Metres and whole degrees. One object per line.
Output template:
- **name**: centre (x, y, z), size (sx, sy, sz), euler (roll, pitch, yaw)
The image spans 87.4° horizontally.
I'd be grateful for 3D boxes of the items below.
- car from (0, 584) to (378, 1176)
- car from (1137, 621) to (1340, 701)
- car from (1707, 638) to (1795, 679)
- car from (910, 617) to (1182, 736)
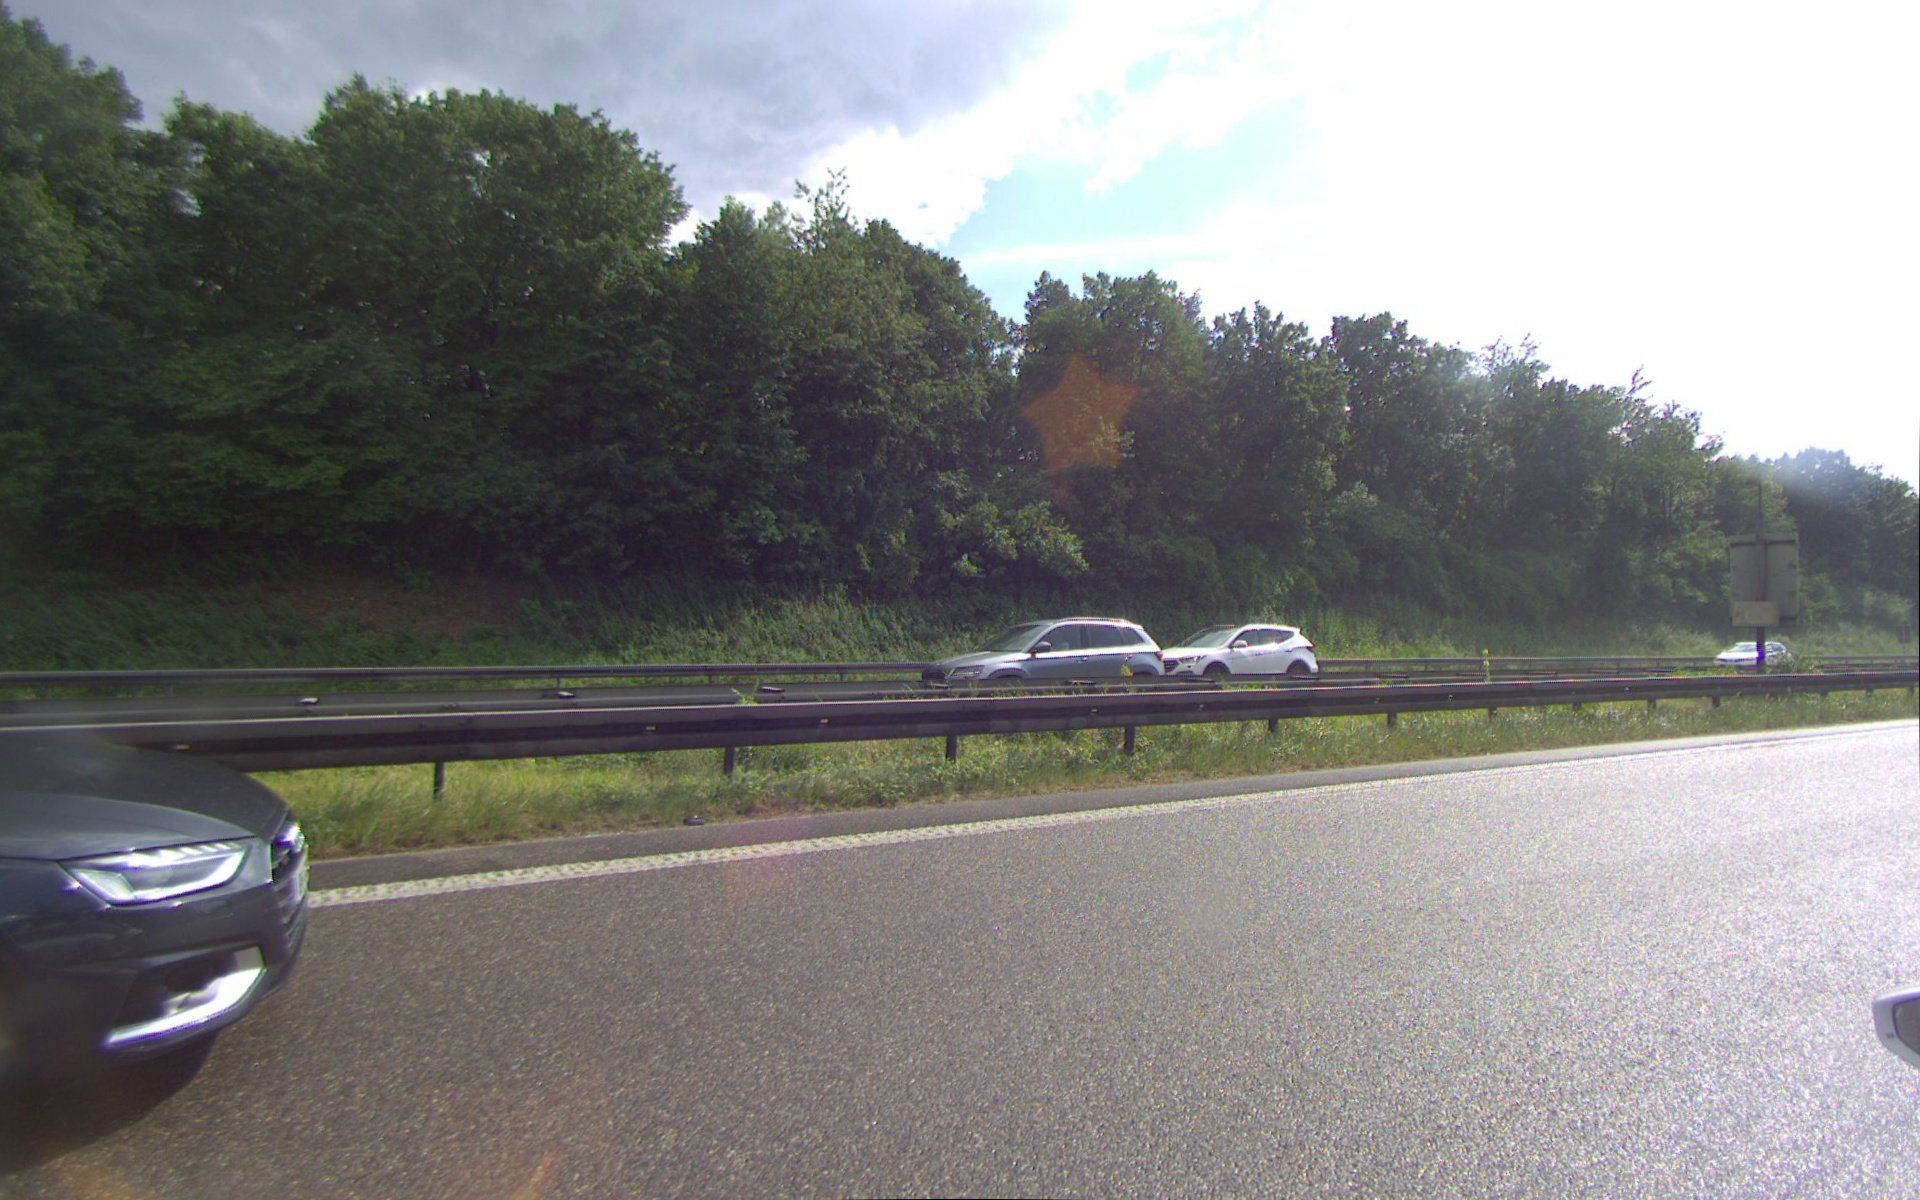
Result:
- **car**: centre (-4.190, 0.633, 2.400), size (4.782, 1.437, 1.786), euler (2, 0, -30)
- **car**: centre (6.683, 1.408, 23.950), size (4.644, 1.685, 2.006), euler (2, 0, -31)
- **car**: centre (35.448, 2.607, 45.004), size (4.188, 1.685, 1.722), euler (2, 0, -31)
- **car**: centre (1.451, 1.174, 16.349), size (4.188, 1.685, 1.722), euler (2, 0, -31)
